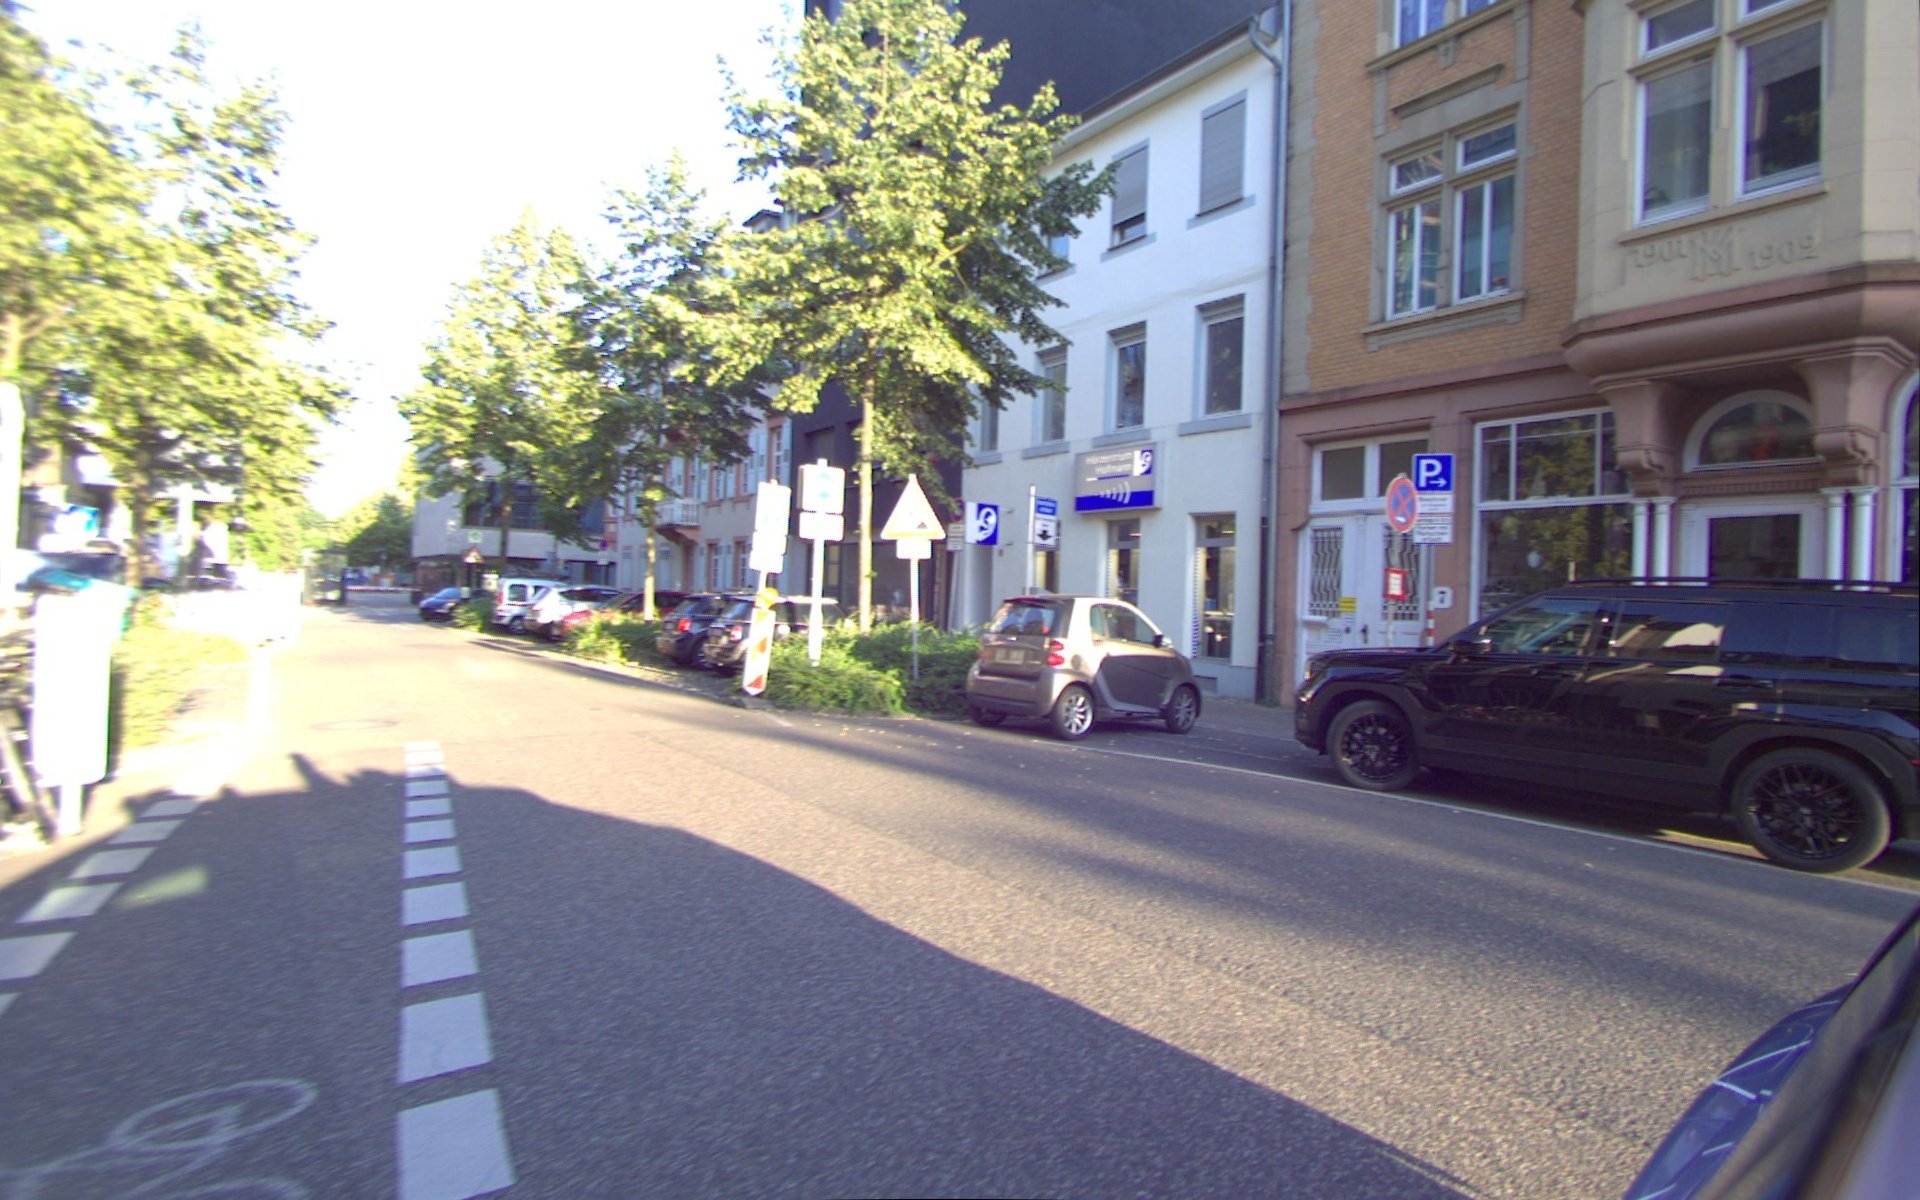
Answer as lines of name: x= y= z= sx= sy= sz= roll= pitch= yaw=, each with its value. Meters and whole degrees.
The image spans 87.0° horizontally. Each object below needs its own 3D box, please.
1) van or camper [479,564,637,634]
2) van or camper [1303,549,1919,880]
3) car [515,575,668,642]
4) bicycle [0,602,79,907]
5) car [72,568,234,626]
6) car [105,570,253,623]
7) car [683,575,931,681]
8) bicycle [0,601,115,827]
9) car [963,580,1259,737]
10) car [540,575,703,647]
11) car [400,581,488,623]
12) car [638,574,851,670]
van or camper: x=-13.125 y=-0.015 z=33.164 sx=4.371 sy=2.031 sz=1.857 roll=4 pitch=-1 yaw=-37
van or camper: x=5.039 y=0.621 z=7.381 sx=1.862 sy=1.830 sz=4.455 roll=3 pitch=0 yaw=-40
car: x=-10.454 y=0.245 z=28.806 sx=3.628 sy=1.691 sz=1.857 roll=4 pitch=-1 yaw=-37
bicycle: x=-4.606 y=0.646 z=4.757 sx=0.489 sy=1.236 sz=1.552 roll=2 pitch=0 yaw=-35
car: x=-26.335 y=-0.088 z=33.227 sx=3.921 sy=1.705 sz=1.892 roll=2 pitch=0 yaw=-33
car: x=-27.439 y=-0.110 z=35.727 sx=3.921 sy=1.705 sz=1.892 roll=2 pitch=0 yaw=-33
car: x=-2.677 y=0.518 z=18.117 sx=3.933 sy=1.691 sz=1.857 roll=4 pitch=-1 yaw=-37
bicycle: x=-5.624 y=0.628 z=6.210 sx=0.499 sy=1.193 sz=1.552 roll=2 pitch=0 yaw=-35
car: x=1.863 y=0.633 z=12.040 sx=3.417 sy=1.595 sz=1.507 roll=2 pitch=0 yaw=-38
car: x=-8.919 y=0.293 z=26.767 sx=3.628 sy=1.691 sz=1.857 roll=4 pitch=-1 yaw=-37
car: x=-21.534 y=0.090 z=42.395 sx=1.822 sy=1.588 sz=3.698 roll=3 pitch=-1 yaw=-2
car: x=-4.227 y=0.446 z=20.033 sx=3.628 sy=1.691 sz=1.857 roll=4 pitch=-1 yaw=-37
